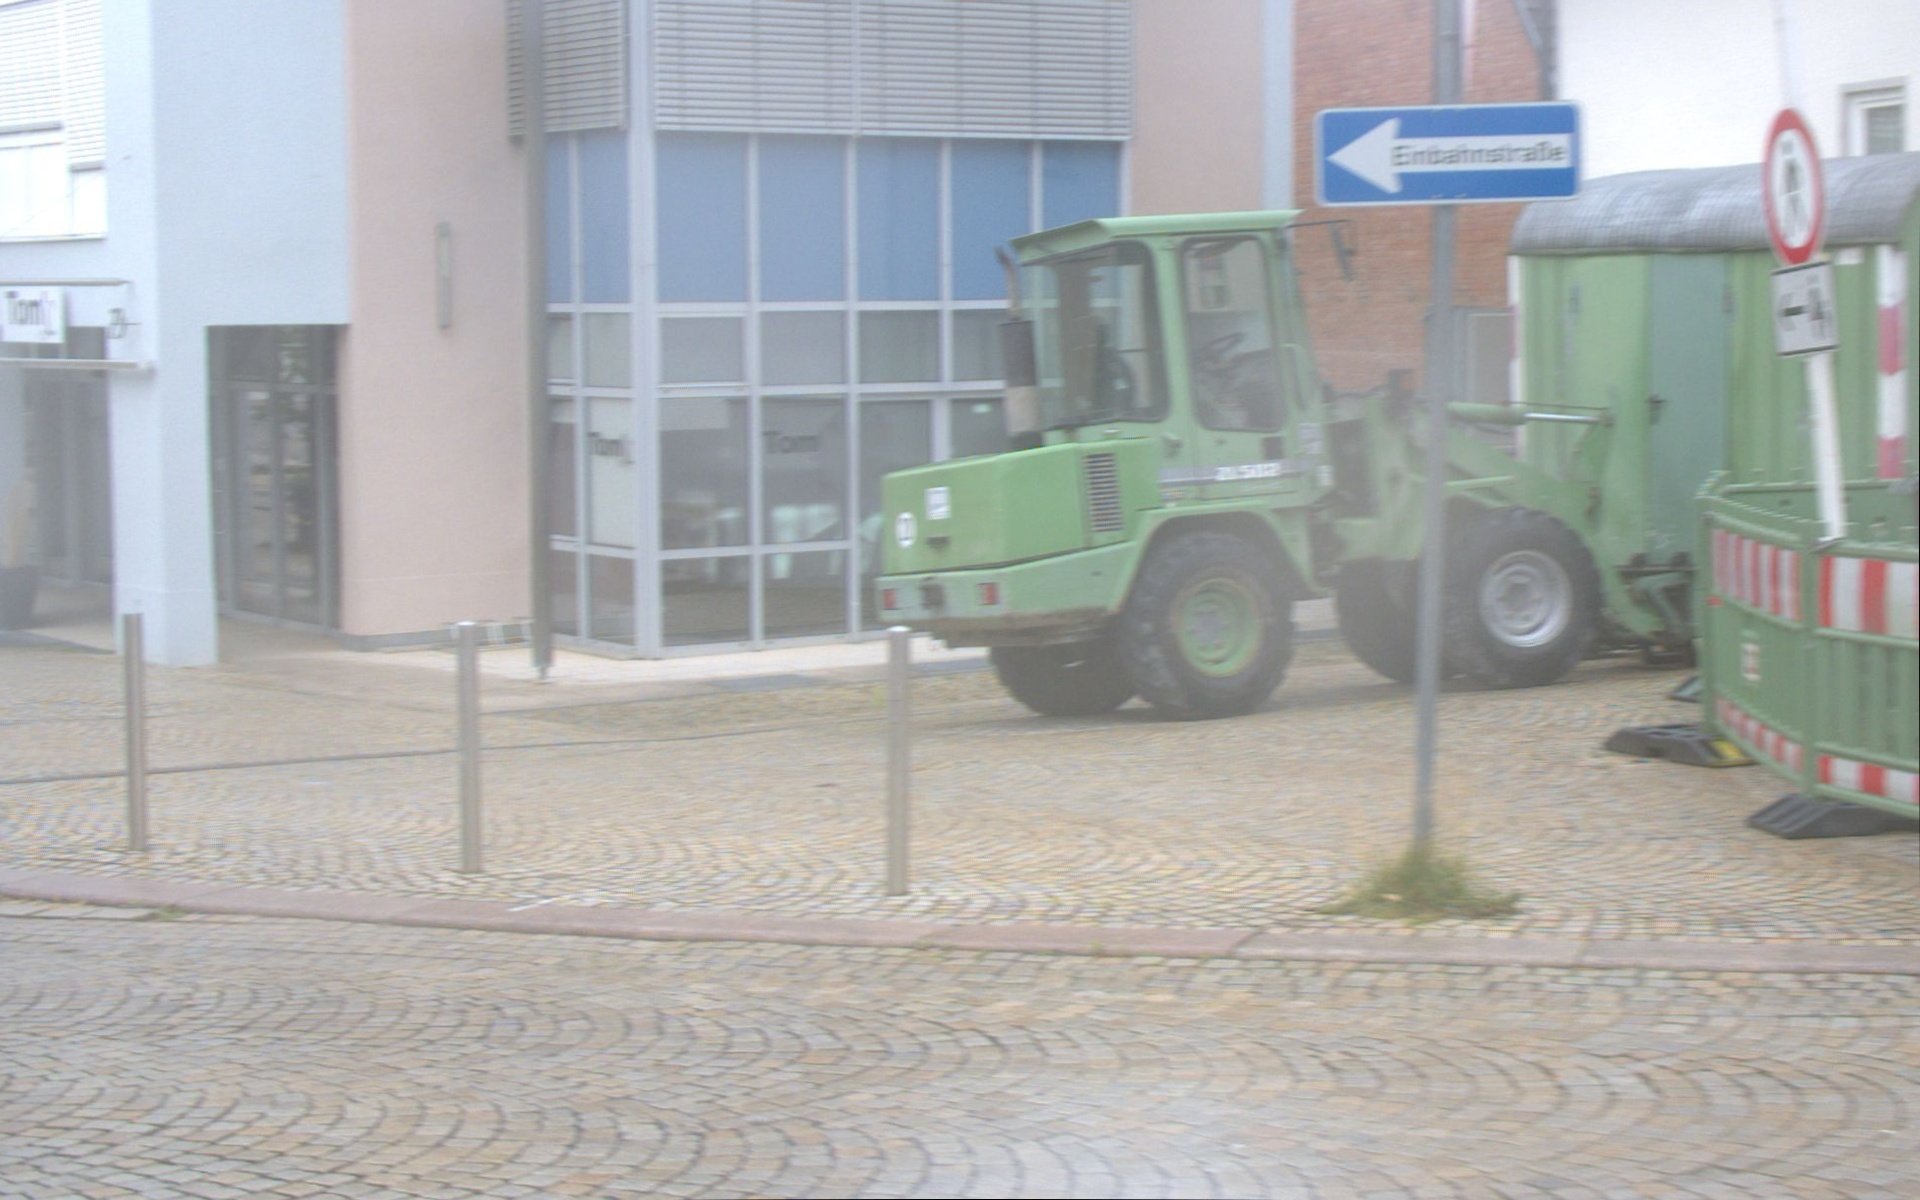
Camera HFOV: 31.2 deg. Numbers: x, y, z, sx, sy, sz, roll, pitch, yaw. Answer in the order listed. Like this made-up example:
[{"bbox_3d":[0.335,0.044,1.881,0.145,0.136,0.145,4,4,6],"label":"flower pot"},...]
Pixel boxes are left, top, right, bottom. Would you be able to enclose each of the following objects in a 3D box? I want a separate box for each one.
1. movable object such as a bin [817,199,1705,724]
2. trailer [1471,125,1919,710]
[{"bbox_3d":[1.601,-0.774,18.352,4.276,2.545,1.912,-2,2,-22],"label":"movable object such as a bin"},{"bbox_3d":[5.071,-1.061,19.184,2.483,2.826,4.635,0,5,-18],"label":"trailer"}]
